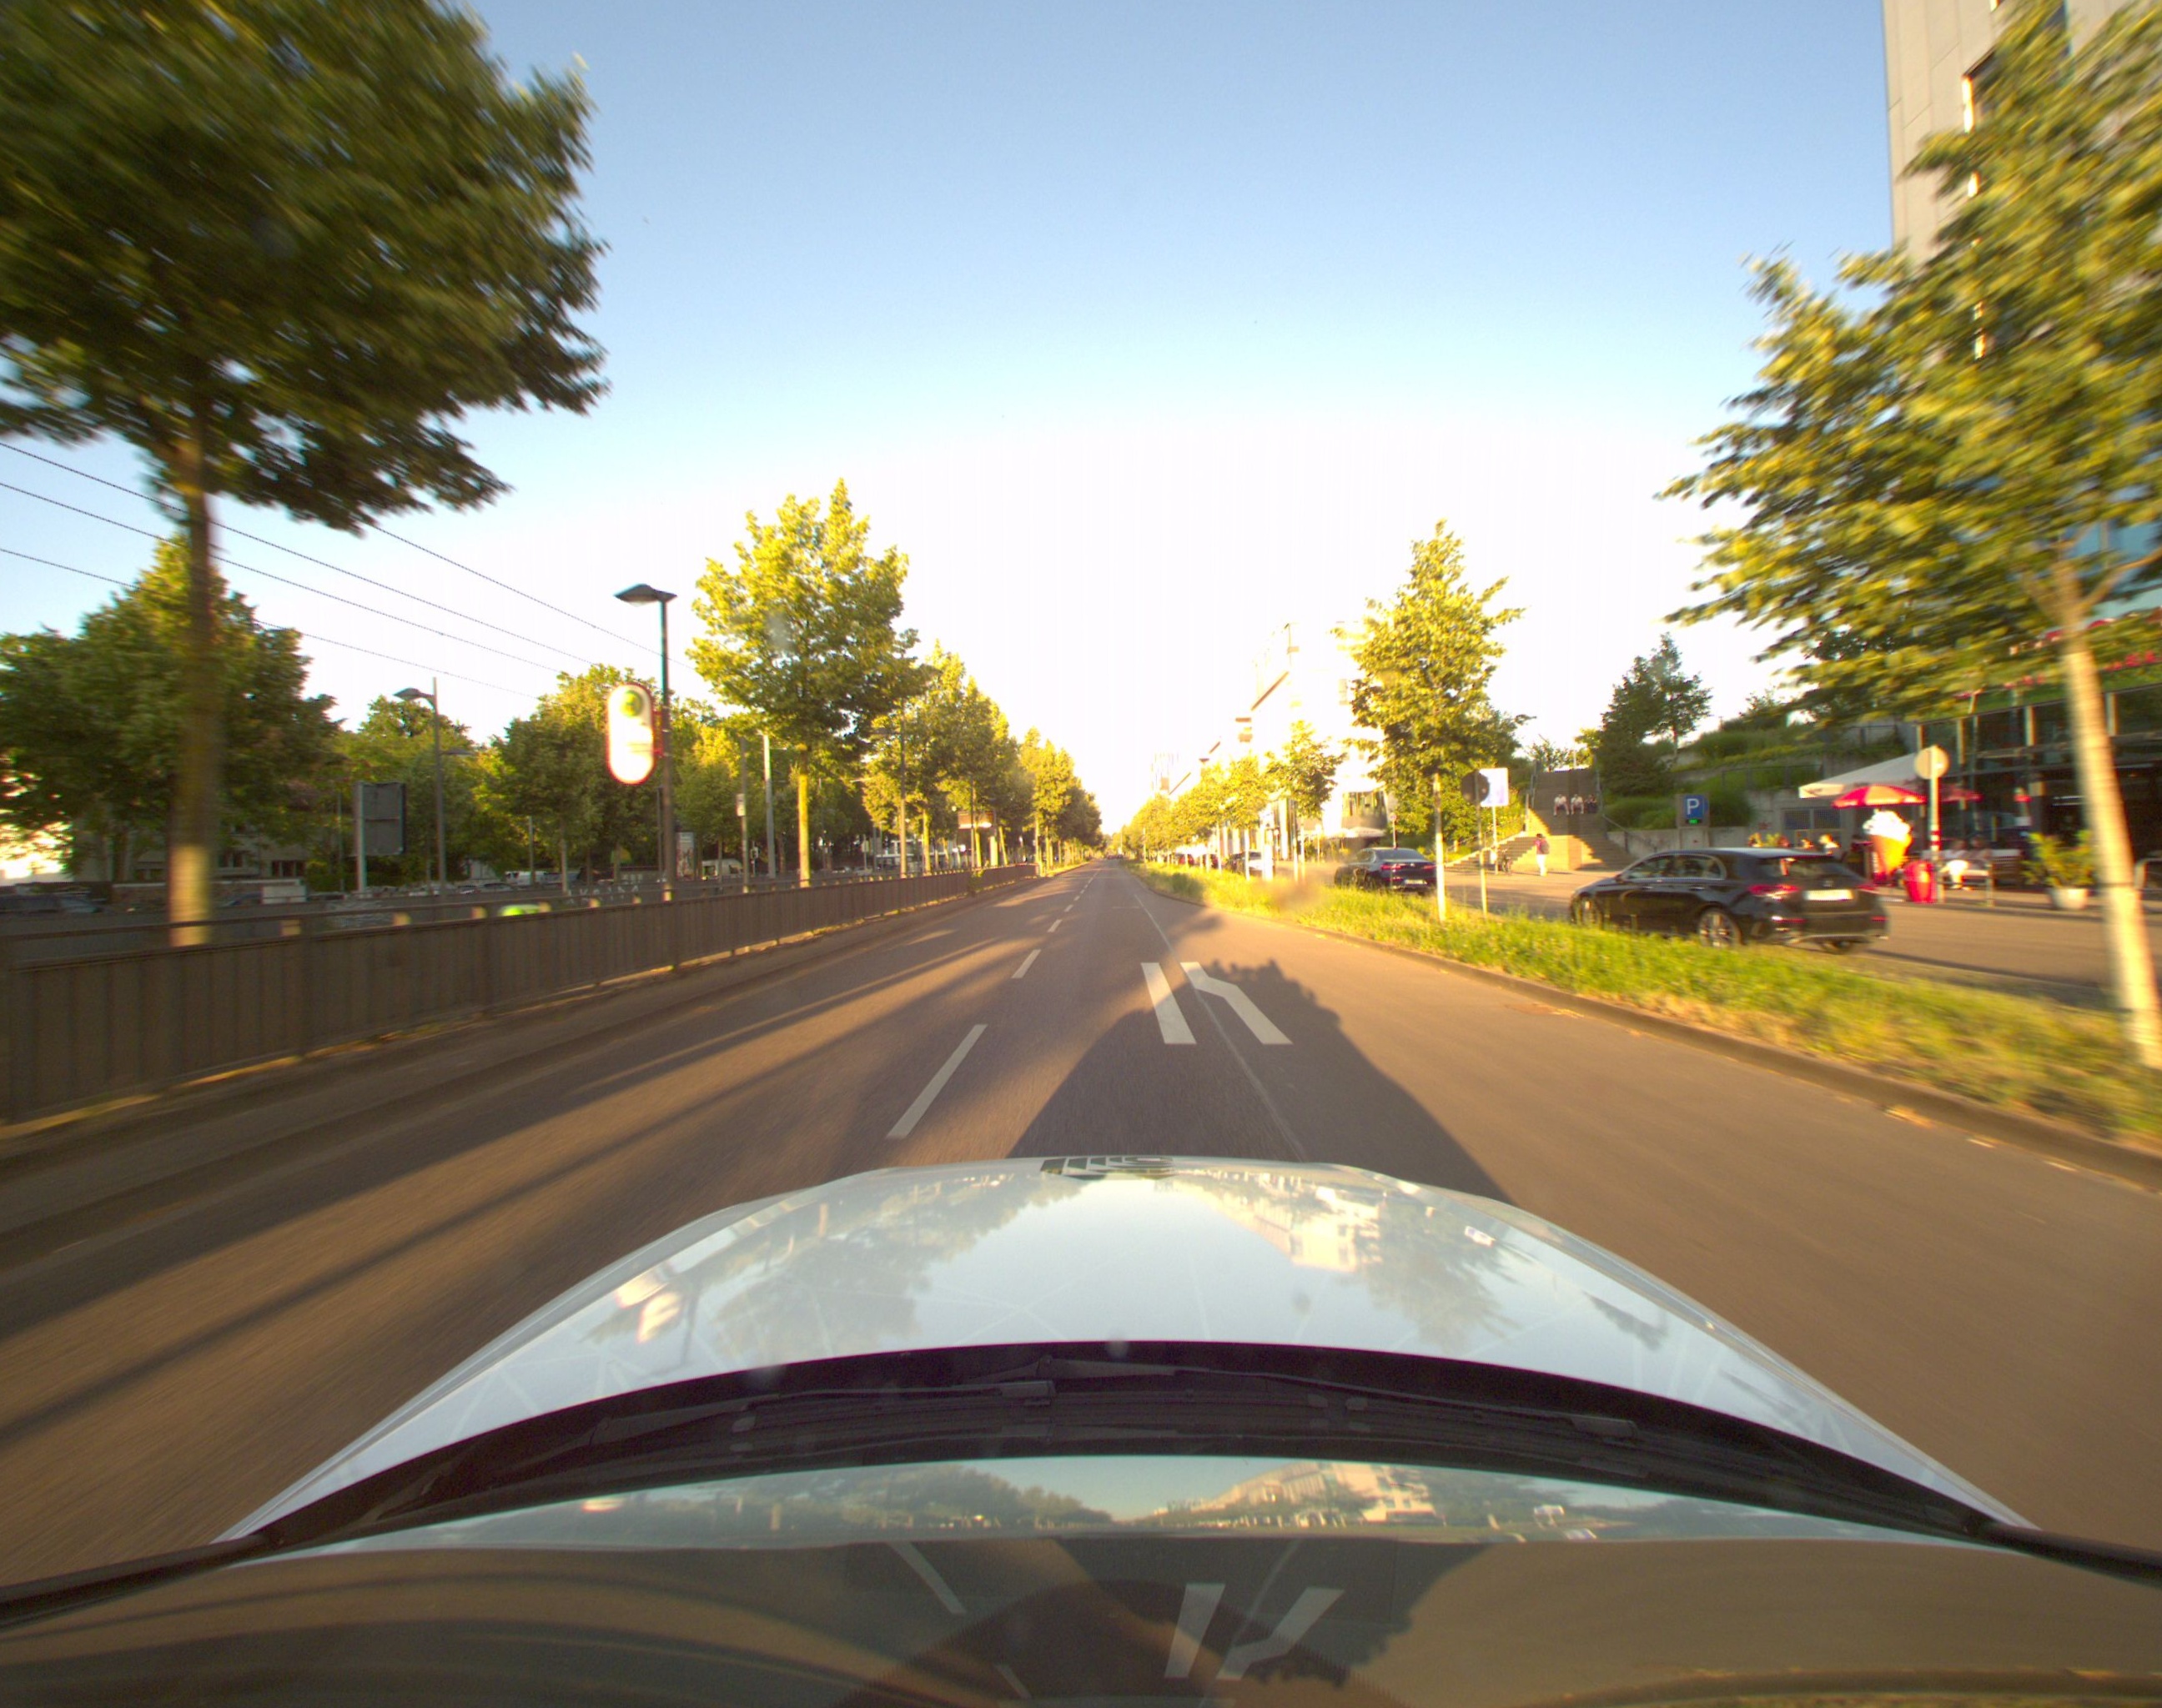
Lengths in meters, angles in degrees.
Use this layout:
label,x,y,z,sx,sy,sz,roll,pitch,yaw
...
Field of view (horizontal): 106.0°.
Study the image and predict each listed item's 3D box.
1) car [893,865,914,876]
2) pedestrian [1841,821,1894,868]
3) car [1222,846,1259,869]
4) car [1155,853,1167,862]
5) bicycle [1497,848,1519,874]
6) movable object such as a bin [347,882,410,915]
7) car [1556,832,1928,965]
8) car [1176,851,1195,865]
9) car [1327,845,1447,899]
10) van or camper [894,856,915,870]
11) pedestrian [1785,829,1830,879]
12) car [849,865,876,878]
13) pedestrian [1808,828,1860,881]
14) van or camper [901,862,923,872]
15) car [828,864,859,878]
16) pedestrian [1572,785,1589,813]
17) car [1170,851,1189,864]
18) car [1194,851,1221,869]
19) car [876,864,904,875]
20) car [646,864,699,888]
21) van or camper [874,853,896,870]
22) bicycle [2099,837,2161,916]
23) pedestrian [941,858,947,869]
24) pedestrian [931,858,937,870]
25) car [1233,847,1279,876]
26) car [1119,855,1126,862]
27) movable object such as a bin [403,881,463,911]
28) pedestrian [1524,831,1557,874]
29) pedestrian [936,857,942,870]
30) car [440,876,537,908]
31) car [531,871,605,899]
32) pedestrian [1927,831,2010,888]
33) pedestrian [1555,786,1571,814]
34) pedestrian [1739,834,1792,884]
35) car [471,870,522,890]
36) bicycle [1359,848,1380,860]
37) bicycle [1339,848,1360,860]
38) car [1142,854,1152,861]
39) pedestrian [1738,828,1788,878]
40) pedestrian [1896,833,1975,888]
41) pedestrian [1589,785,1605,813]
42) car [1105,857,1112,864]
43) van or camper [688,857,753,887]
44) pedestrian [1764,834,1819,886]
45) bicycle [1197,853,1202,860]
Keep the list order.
label,x,y,z,sx,sy,sz,roll,pitch,yaw
car,-26.005,2.405,119.438,1.793,1.560,3.846,-2,0,7
pedestrian,22.255,-0.265,23.056,0.740,1.265,0.771,-2,0,2
car,10.599,0.221,54.297,1.743,1.398,4.001,-1,0,1
car,14.190,0.541,144.288,1.802,1.501,4.827,-2,0,1
bicycle,17.688,0.272,33.775,0.538,1.043,1.923,-2,0,21
movable object such as a bin,-32.942,2.063,38.250,1.402,1.411,1.703,-2,0,3
car,9.058,0.516,11.791,1.802,1.501,4.480,-2,0,1
car,12.226,0.459,95.405,1.802,1.501,3.960,-2,0,1
car,9.709,0.511,26.362,1.912,1.501,5.412,-2,0,1
van or camper,-39.595,2.052,182.636,2.697,3.085,6.272,-2,0,6
pedestrian,19.576,-0.004,21.938,0.665,1.290,0.678,-4,0,-31
car,-26.765,2.142,99.775,1.892,1.499,4.310,-2,0,3
pedestrian,19.342,0.016,20.929,0.683,1.290,0.626,-4,0,-11
van or camper,-32.372,2.457,156.192,3.985,1.791,1.994,-2,0,-9
car,-27.343,1.973,94.043,1.985,1.499,4.560,-2,0,3
pedestrian,25.656,-2.798,41.826,0.661,1.381,0.832,-1,0,33
car,12.471,0.419,103.411,1.914,1.501,5.011,-2,0,1
car,11.117,0.493,71.866,1.802,1.501,4.369,-2,0,1
car,-25.588,2.020,109.065,1.983,1.315,5.151,-2,0,6
car,-38.647,2.063,77.220,1.984,2.013,5.066,-2,0,5
van or camper,-32.625,1.292,135.800,2.078,2.735,5.495,-2,0,1
bicycle,16.326,0.330,11.835,0.638,1.133,1.872,-4,0,-2
pedestrian,-21.495,1.524,128.014,0.691,1.743,0.866,-2,-1,0
pedestrian,-23.074,1.560,127.941,0.692,1.759,0.864,-2,-1,-6
car,10.434,0.431,48.751,1.802,1.632,4.677,-2,0,1
car,12.752,1.337,252.304,1.986,2.013,4.001,-2,0,1
movable object such as a bin,-32.613,2.105,41.044,1.546,1.372,1.726,-2,0,3
pedestrian,18.205,-0.068,32.279,0.692,1.654,1.079,-2,0,1
pedestrian,-22.374,1.494,128.296,0.692,1.870,0.864,-2,-1,-6
car,-32.641,2.038,45.027,1.985,1.500,4.303,-2,0,4
car,-32.083,1.925,51.073,1.802,1.531,4.057,-2,0,4
pedestrian,19.097,0.120,17.536,0.969,1.125,0.685,-4,0,2
pedestrian,25.065,-2.795,42.360,0.661,1.381,0.832,0,0,33
pedestrian,18.446,0.131,21.969,0.776,1.290,0.686,-4,0,8
car,-57.964,2.541,80.874,1.986,1.750,4.002,-2,0,2
bicycle,27.841,-0.010,78.666,1.790,1.107,0.500,-2,0,-2
bicycle,25.838,-0.017,78.451,1.790,1.107,0.500,-2,0,-2
car,15.192,0.754,188.288,1.937,1.549,4.811,-2,0,0
pedestrian,19.277,-0.018,23.031,0.743,1.368,0.768,-2,0,-10
pedestrian,19.125,0.141,18.250,0.969,1.125,0.685,-4,0,2
pedestrian,26.283,-2.793,41.487,0.661,1.381,0.832,0,0,33
car,8.202,1.828,244.275,2.080,2.013,4.001,-2,0,1
van or camper,-30.534,1.483,69.242,2.272,2.365,5.793,-2,0,7
pedestrian,18.424,0.155,21.132,0.771,1.290,0.686,-4,0,8
bicycle,21.417,0.471,147.360,0.536,1.164,1.782,-4,0,3
